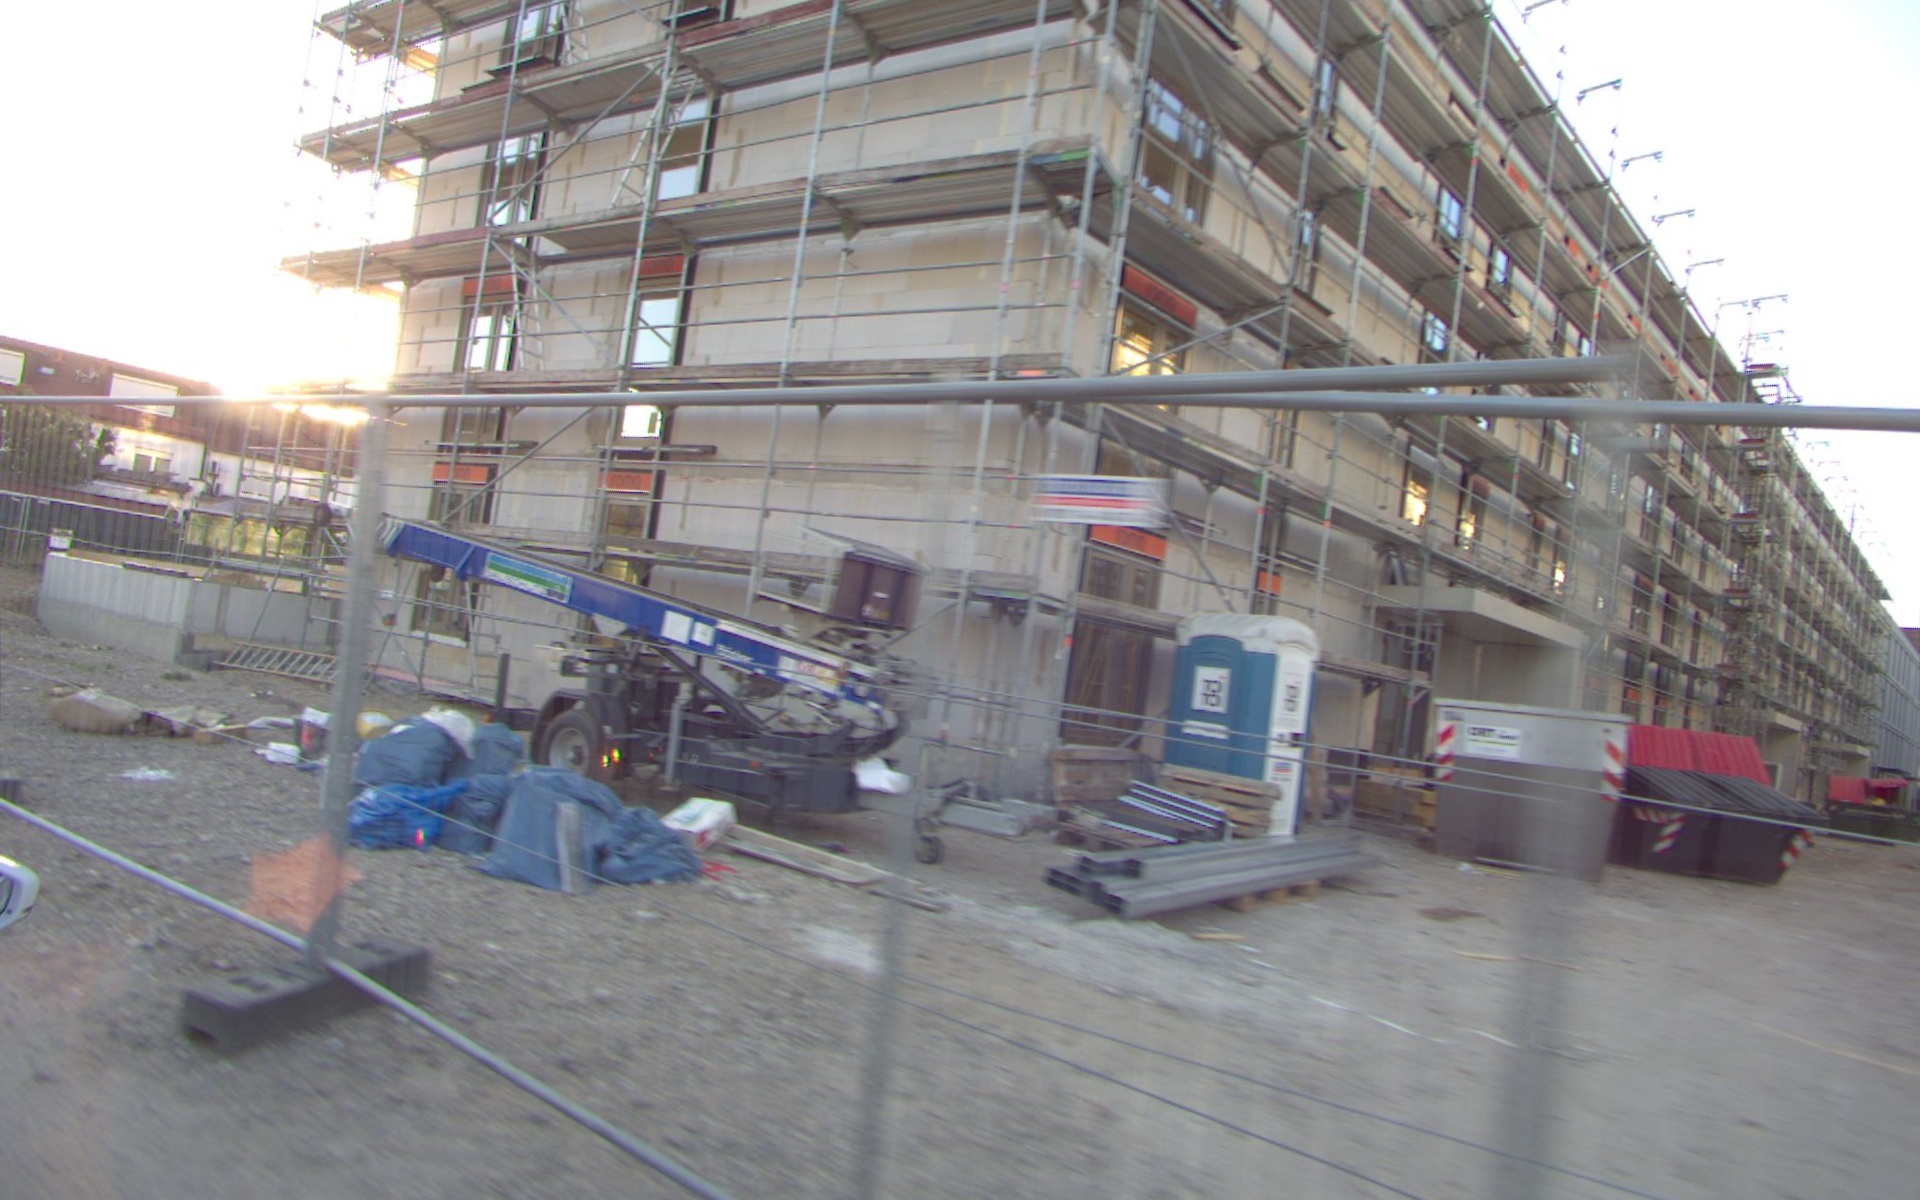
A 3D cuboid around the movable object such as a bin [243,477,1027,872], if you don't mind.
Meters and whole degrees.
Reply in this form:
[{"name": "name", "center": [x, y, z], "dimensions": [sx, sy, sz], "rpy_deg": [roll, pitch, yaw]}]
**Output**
[{"name": "movable object such as a bin", "center": [-3.576, 0.301, 9.413], "dimensions": [8.232, 2.299, 2.068], "rpy_deg": [6, -2, 33]}]
